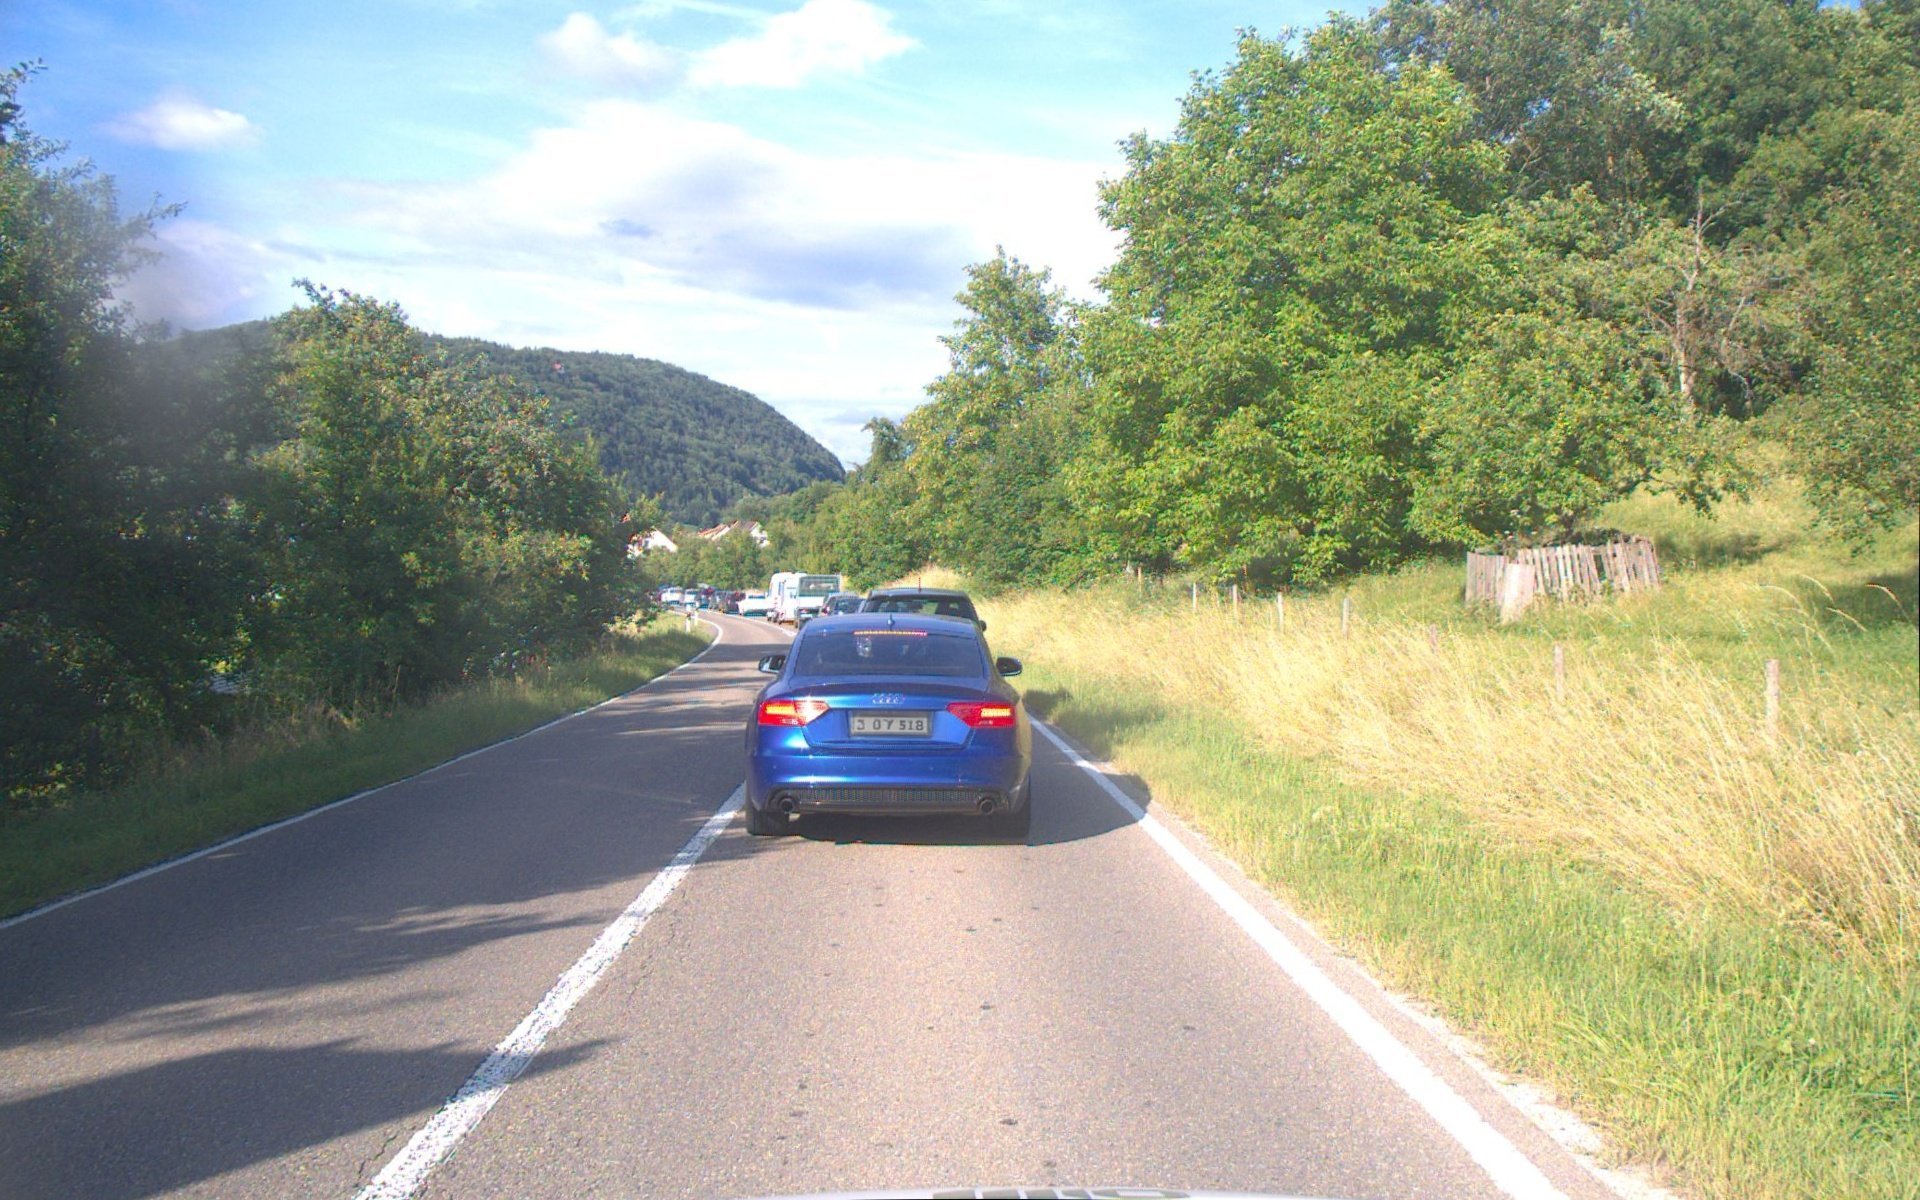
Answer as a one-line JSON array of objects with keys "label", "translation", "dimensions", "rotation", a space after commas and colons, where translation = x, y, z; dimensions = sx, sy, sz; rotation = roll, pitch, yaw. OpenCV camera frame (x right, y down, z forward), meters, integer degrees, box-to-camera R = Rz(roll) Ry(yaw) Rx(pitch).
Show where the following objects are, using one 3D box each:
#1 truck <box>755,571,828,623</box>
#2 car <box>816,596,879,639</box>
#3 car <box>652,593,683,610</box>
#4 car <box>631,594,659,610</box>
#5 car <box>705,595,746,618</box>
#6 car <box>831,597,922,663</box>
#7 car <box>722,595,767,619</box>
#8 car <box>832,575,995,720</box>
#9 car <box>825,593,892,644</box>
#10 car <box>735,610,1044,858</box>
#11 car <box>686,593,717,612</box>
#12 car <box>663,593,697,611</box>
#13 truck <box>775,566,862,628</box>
[{"label": "truck", "translation": [-9.411, -0.166, 91.471], "dimensions": [2.814, 2.712, 10.611], "rotation": [1, 0, -12]}, {"label": "car", "translation": [-4.153, 0.628, 60.626], "dimensions": [1.957, 1.508, 3.992], "rotation": [1, 0, -9]}, {"label": "car", "translation": [-27.410, 0.169, 154.871], "dimensions": [1.967, 1.508, 3.970], "rotation": [1, 0, -24]}, {"label": "car", "translation": [-32.002, 0.191, 167.786], "dimensions": [1.967, 1.508, 3.970], "rotation": [1, 0, -24]}, {"label": "car", "translation": [-16.297, 0.458, 114.756], "dimensions": [1.966, 1.508, 3.973], "rotation": [1, 0, -22]}, {"label": "car", "translation": [-1.884, 0.663, 38.004], "dimensions": [1.953, 1.411, 3.998], "rotation": [1, 0, -2]}, {"label": "car", "translation": [-14.016, 0.422, 107.498], "dimensions": [1.966, 1.508, 3.973], "rotation": [1, 0, -22]}, {"label": "car", "translation": [-0.621, 0.587, 22.093], "dimensions": [1.953, 1.732, 3.998], "rotation": [1, 0, -2]}, {"label": "car", "translation": [-3.142, 0.563, 51.728], "dimensions": [1.953, 1.508, 3.998], "rotation": [1, 0, -2]}, {"label": "car", "translation": [-0.427, 0.773, 11.418], "dimensions": [1.757, 1.383, 3.999], "rotation": [0, 0, -1]}, {"label": "car", "translation": [-21.248, 0.201, 135.885], "dimensions": [1.963, 1.508, 3.980], "rotation": [1, 0, -18]}, {"label": "car", "translation": [-24.420, 0.181, 144.258], "dimensions": [1.967, 1.508, 3.970], "rotation": [1, 0, -24]}, {"label": "truck", "translation": [-6.862, -0.129, 78.806], "dimensions": [2.814, 2.712, 10.360], "rotation": [1, 0, -12]}]
